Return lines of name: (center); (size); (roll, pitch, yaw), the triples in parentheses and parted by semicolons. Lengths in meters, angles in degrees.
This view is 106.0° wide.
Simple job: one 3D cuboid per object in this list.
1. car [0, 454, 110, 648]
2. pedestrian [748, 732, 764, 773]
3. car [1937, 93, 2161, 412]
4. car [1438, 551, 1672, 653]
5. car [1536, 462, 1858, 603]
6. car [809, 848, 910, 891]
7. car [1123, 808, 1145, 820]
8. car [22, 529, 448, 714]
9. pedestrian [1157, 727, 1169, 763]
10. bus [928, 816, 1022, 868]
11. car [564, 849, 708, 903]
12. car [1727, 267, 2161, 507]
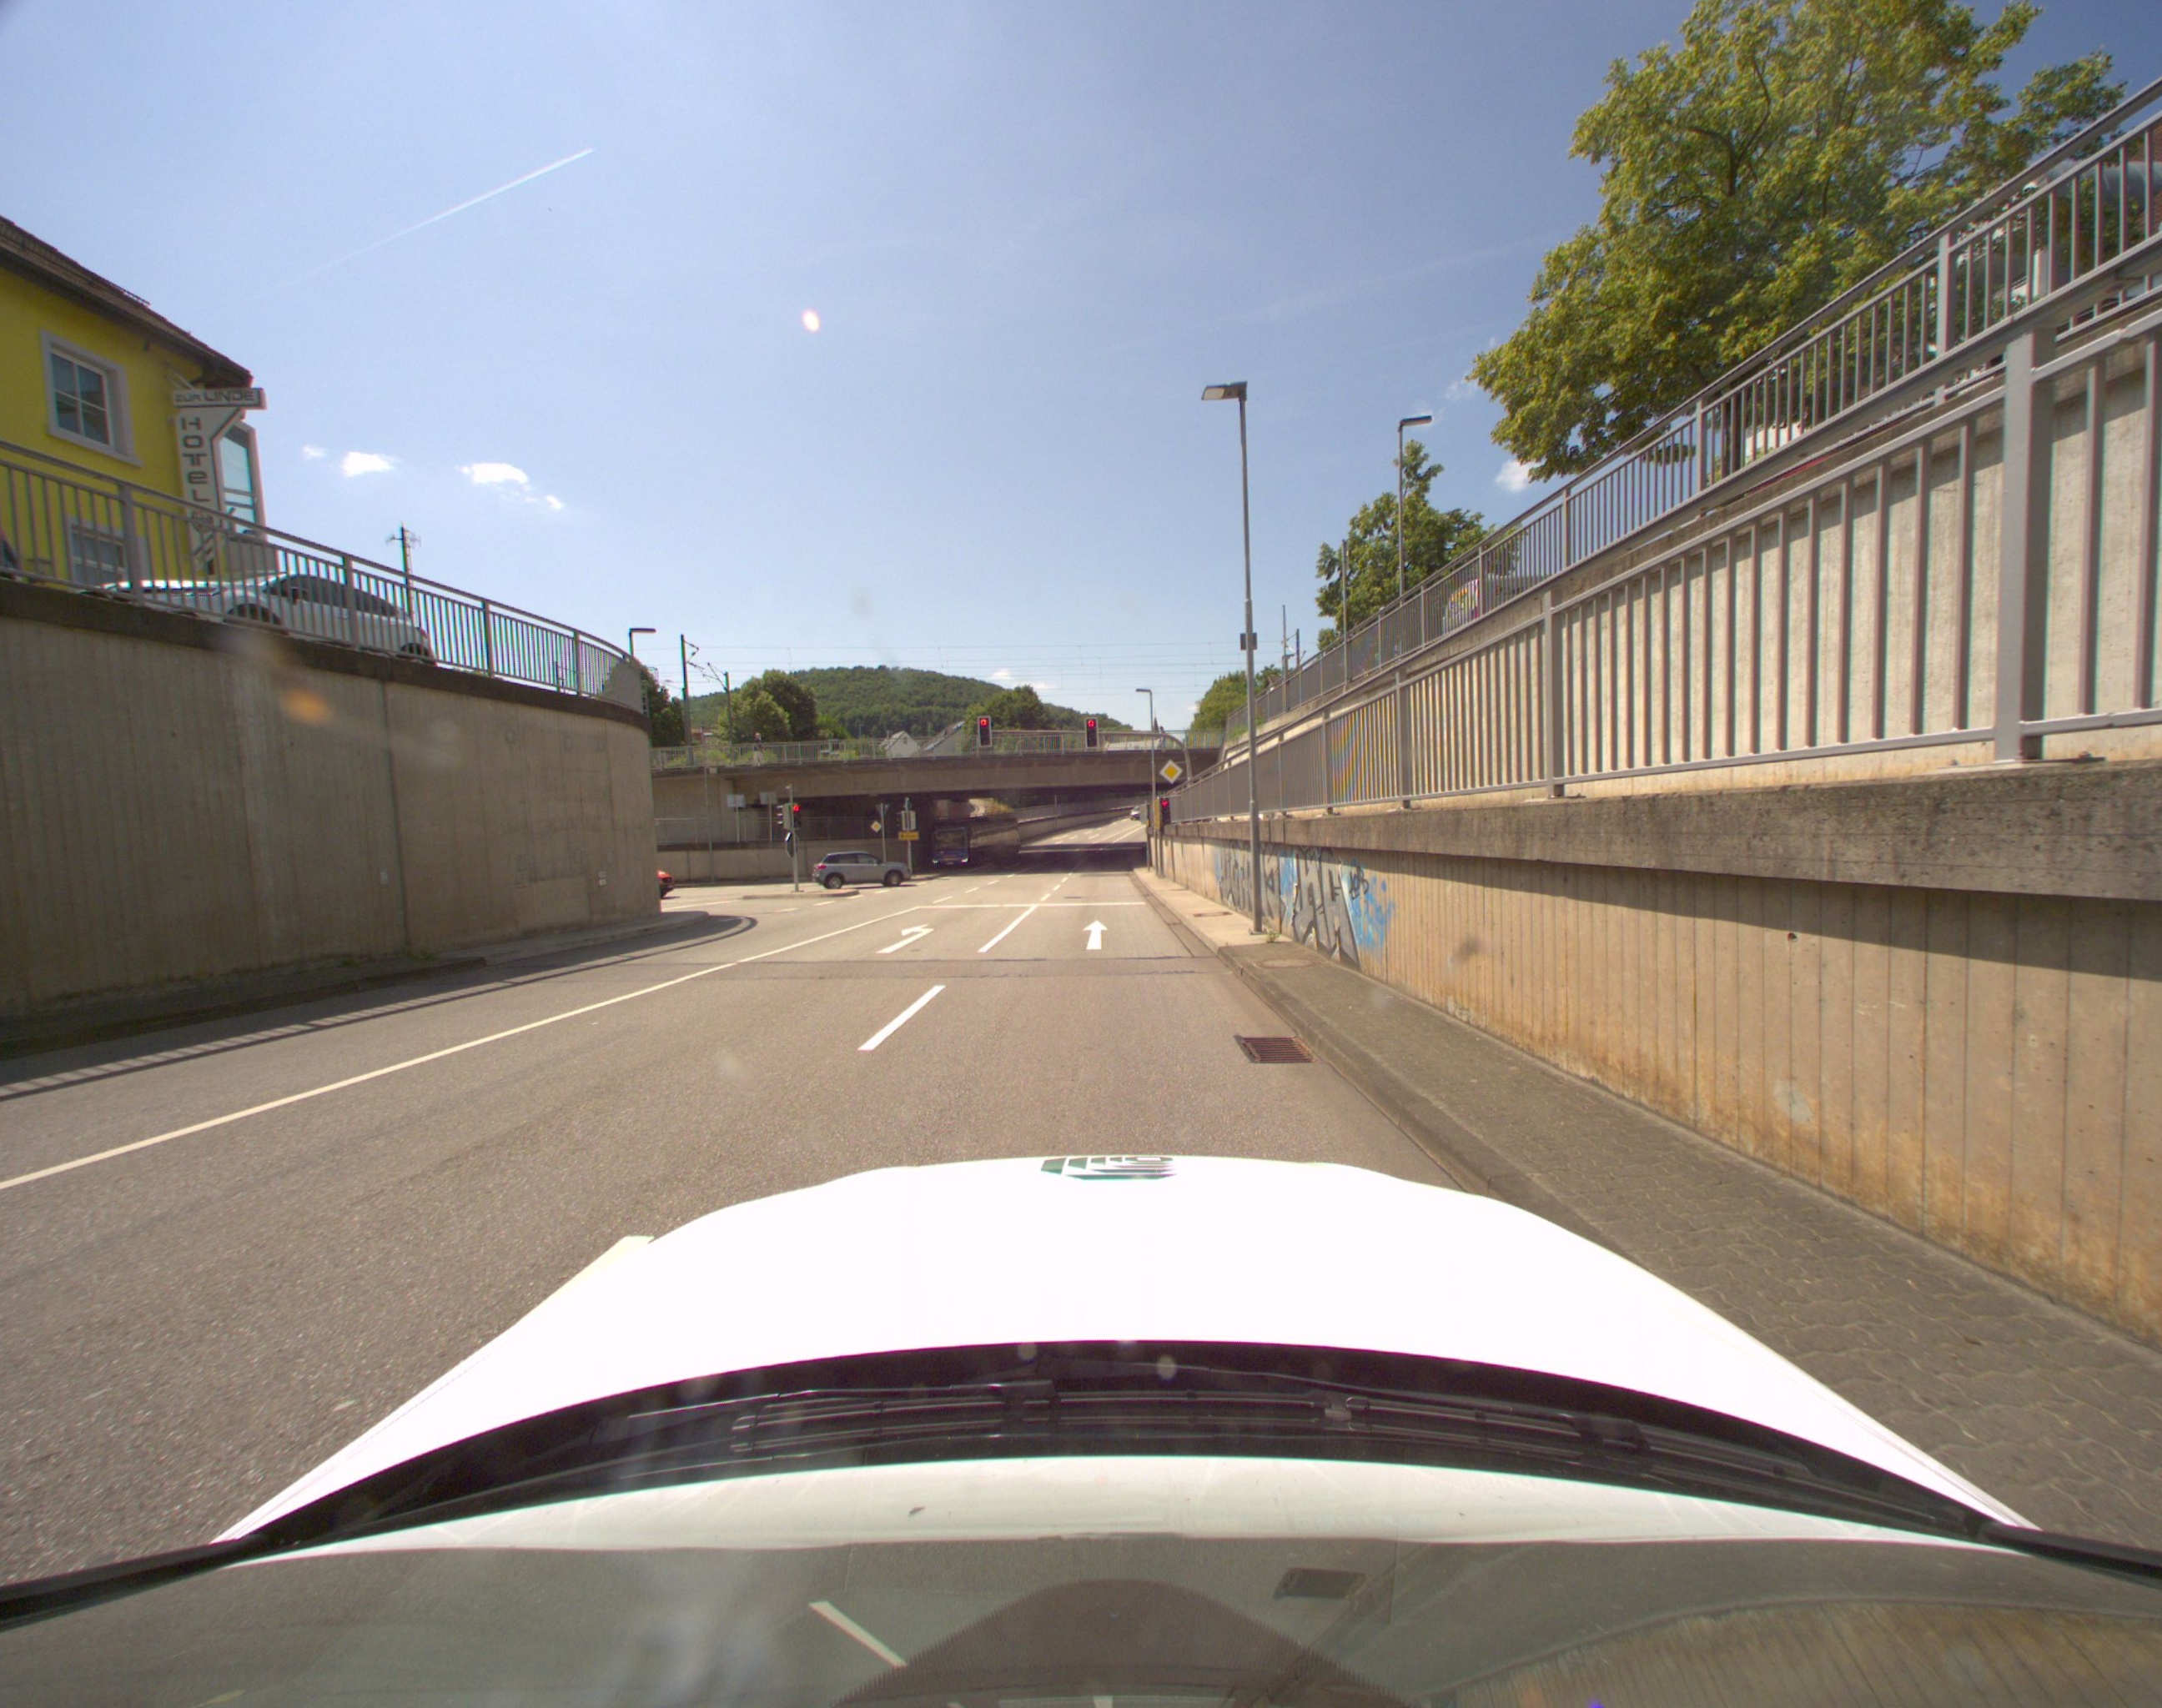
car: (-11.566, -3.018, 6.772); (1.817, 1.705, 4.222); (-2, 3, -1)
pedestrian: (-17.440, -5.445, 43.726); (0.576, 2.081, 0.533); (-3, 0, -9)
car: (10.292, -5.097, 6.952); (3.969, 1.486, 1.772); (-1, 0, 4)
car: (9.995, -5.334, 17.425); (3.969, 1.486, 1.772); (-1, 0, 4)
car: (10.088, -5.282, 13.605); (3.969, 1.486, 1.772); (-1, 0, 4)
car: (-9.626, 0.628, 35.435); (4.004, 1.617, 1.797); (-2, 2, -23)
car: (7.015, -5.285, 107.467); (1.977, 1.627, 4.020); (-1, 3, 18)
car: (-11.774, -3.154, 11.846); (1.896, 1.667, 4.000); (-2, 3, 0)
pedestrian: (4.922, -6.538, 48.995); (0.538, 2.081, 0.534); (-3, 0, -6)
bus: (-7.048, -1.032, 56.850); (2.564, 3.172, 12.418); (-1, 3, 11)
car: (-18.074, 0.857, 33.323); (4.702, 1.932, 1.874); (-2, 2, -9)
car: (10.079, -5.201, 9.275); (3.969, 1.567, 1.772); (-1, 0, 4)
